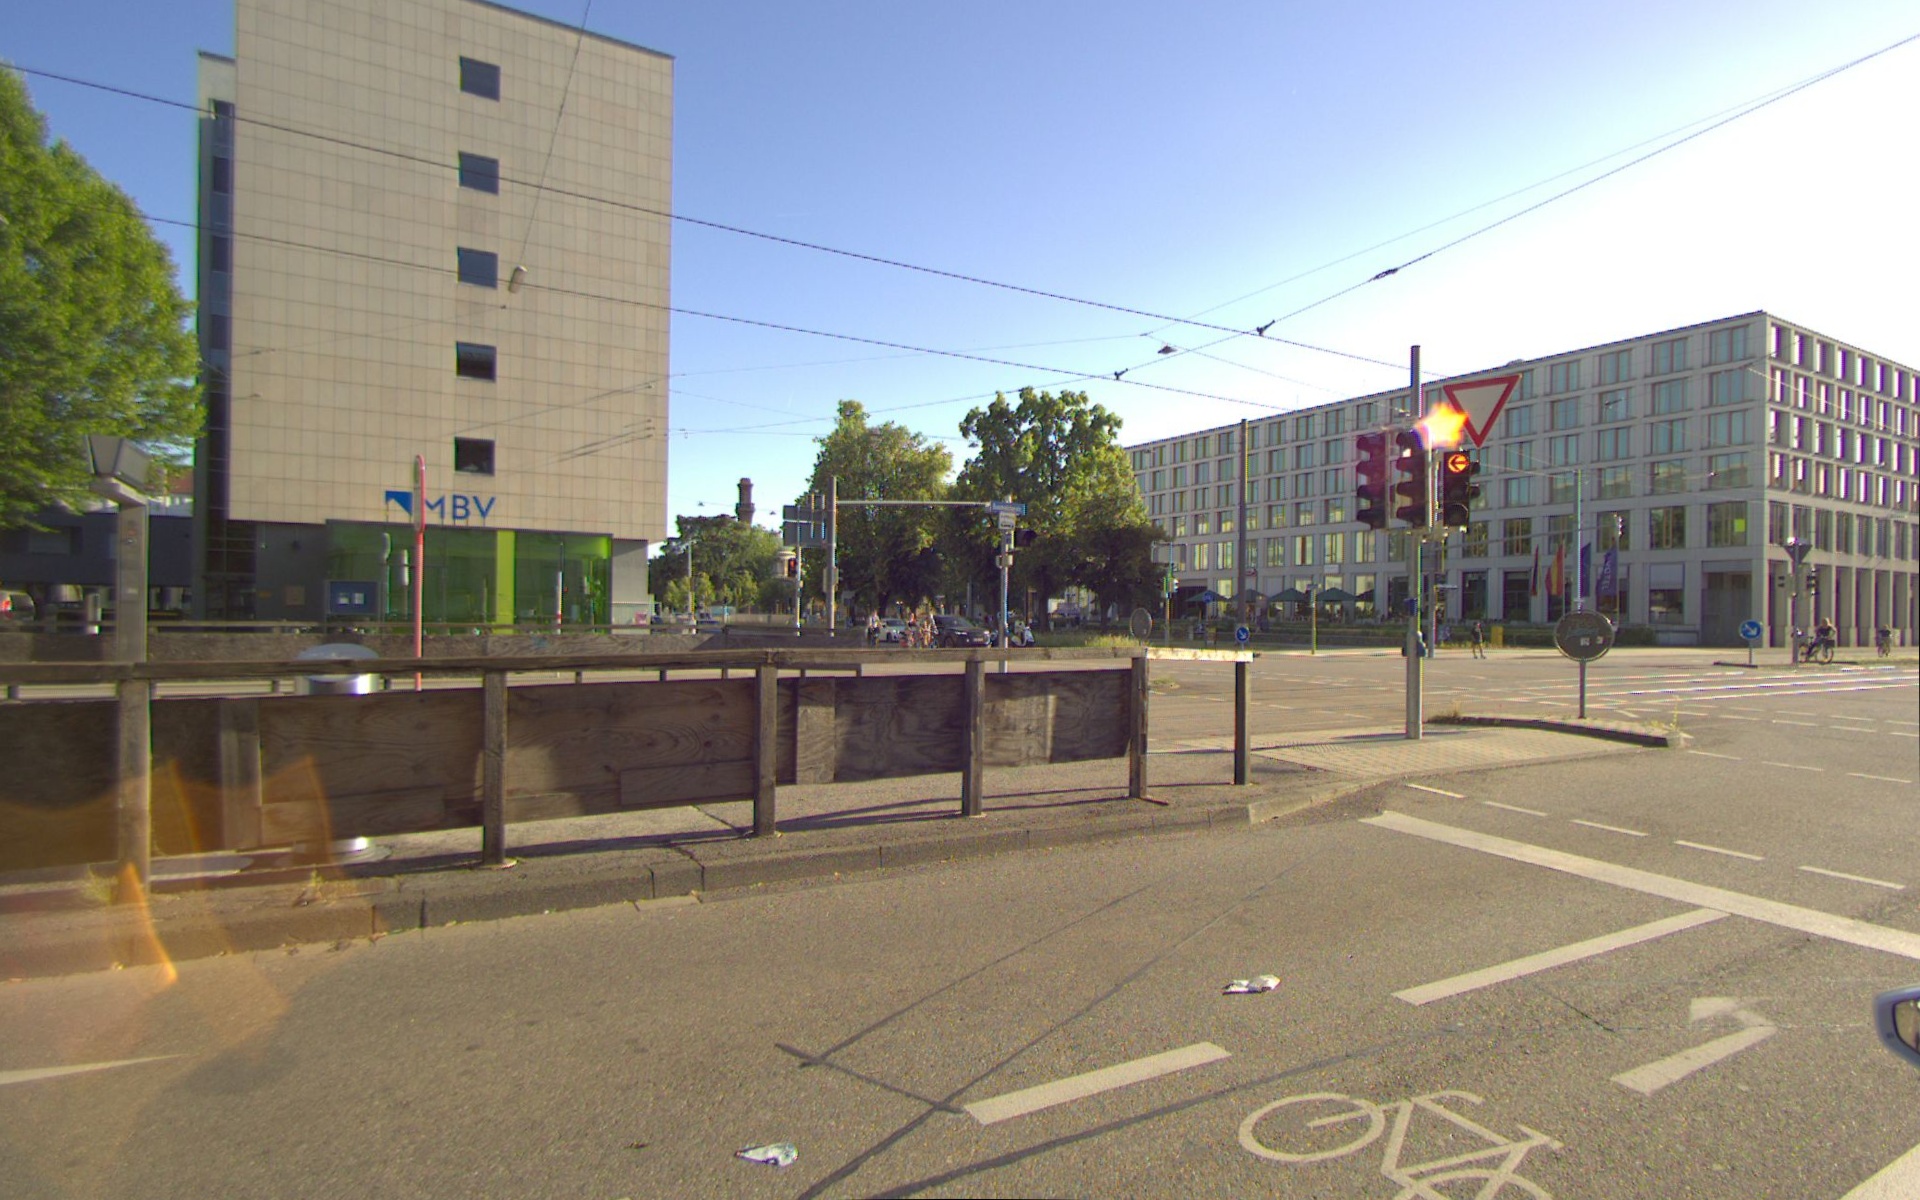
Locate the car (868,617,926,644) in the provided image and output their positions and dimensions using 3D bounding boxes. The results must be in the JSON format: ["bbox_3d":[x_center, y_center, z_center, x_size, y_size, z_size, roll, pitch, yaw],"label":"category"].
[{"bbox_3d":[-3.782,1.797,59.723,1.975,1.537,3.971,1,-1,-28],"label":"car"}]

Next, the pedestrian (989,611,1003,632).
[{"bbox_3d":[3.059,1.853,85.380,0.858,1.738,0.737,2,0,-26],"label":"pedestrian"}]

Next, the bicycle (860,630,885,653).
[{"bbox_3d":[-4.100,1.938,47.153,0.576,1.032,1.666,1,-1,-27],"label":"bicycle"}]

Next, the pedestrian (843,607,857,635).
[{"bbox_3d":[-8.148,1.565,74.137,0.772,2.040,0.747,1,-1,-31],"label":"pedestrian"}]

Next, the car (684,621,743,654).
[{"bbox_3d":[-12.618,1.906,51.227,1.975,1.472,4.179,2,0,-28],"label":"car"}]

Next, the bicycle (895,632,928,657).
[{"bbox_3d":[-2.035,1.850,42.019,0.577,1.032,1.806,1,-3,-31],"label":"bicycle"}]

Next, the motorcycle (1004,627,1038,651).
[{"bbox_3d":[2.851,1.825,46.955,0.624,1.030,1.972,-3,1,-28],"label":"motorcycle"}]

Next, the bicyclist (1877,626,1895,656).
[{"bbox_3d":[47.275,2.070,51.286,0.658,1.518,0.492,1,-1,-28],"label":"bicyclist"}]

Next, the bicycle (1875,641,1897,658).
[{"bbox_3d":[47.292,2.528,51.290,1.142,0.850,0.492,1,-1,-28],"label":"bicycle"}]

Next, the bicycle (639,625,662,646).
[{"bbox_3d":[-16.448,1.868,53.369,0.802,1.047,2.111,1,-1,-28],"label":"bicycle"}]

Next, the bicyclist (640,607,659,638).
[{"bbox_3d":[-16.571,1.197,53.582,0.802,1.623,0.677,1,-1,-29],"label":"bicyclist"}]

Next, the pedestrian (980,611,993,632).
[{"bbox_3d":[2.281,1.836,86.706,0.858,1.738,0.737,2,0,-26],"label":"pedestrian"}]

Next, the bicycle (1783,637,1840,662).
[{"bbox_3d":[31.090,1.801,36.693,0.562,0.834,1.718,1,-1,-2],"label":"bicycle"}]

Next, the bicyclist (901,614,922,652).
[{"bbox_3d":[-2.029,1.371,42.016,0.577,1.563,0.833,1,-2,-32],"label":"bicyclist"}]

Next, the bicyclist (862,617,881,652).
[{"bbox_3d":[-4.168,1.611,47.308,0.576,1.658,0.890,1,-1,-27],"label":"bicyclist"}]

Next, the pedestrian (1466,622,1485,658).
[{"bbox_3d":[24.974,1.933,48.657,0.595,1.703,0.605,1,-1,-10],"label":"pedestrian"}]

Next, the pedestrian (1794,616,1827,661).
[{"bbox_3d":[31.090,1.406,36.710,0.562,1.616,0.744,1,-1,-3],"label":"pedestrian"}]

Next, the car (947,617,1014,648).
[{"bbox_3d":[1.023,1.663,52.206,1.674,1.506,3.719,1,-1,-33],"label":"car"}]

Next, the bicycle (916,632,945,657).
[{"bbox_3d":[-1.263,1.858,42.380,0.576,1.032,1.666,1,-1,-27],"label":"bicycle"}]

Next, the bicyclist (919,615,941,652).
[{"bbox_3d":[-1.270,1.414,42.416,0.576,1.563,0.890,1,-1,-27],"label":"bicyclist"}]

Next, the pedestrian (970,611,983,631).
[{"bbox_3d":[1.402,1.806,86.008,0.858,1.738,0.737,2,0,-26],"label":"pedestrian"}]

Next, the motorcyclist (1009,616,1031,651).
[{"bbox_3d":[2.810,1.554,46.985,0.624,1.601,0.812,-3,1,-28],"label":"motorcyclist"}]

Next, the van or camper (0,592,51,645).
[{"bbox_3d":[-27.886,0.427,27.567,3.954,1.425,1.954,4,-3,-30],"label":"van or camper"}]

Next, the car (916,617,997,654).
[{"bbox_3d":[-0.211,1.551,44.694,1.925,1.561,3.969,2,-2,-29],"label":"car"}]
